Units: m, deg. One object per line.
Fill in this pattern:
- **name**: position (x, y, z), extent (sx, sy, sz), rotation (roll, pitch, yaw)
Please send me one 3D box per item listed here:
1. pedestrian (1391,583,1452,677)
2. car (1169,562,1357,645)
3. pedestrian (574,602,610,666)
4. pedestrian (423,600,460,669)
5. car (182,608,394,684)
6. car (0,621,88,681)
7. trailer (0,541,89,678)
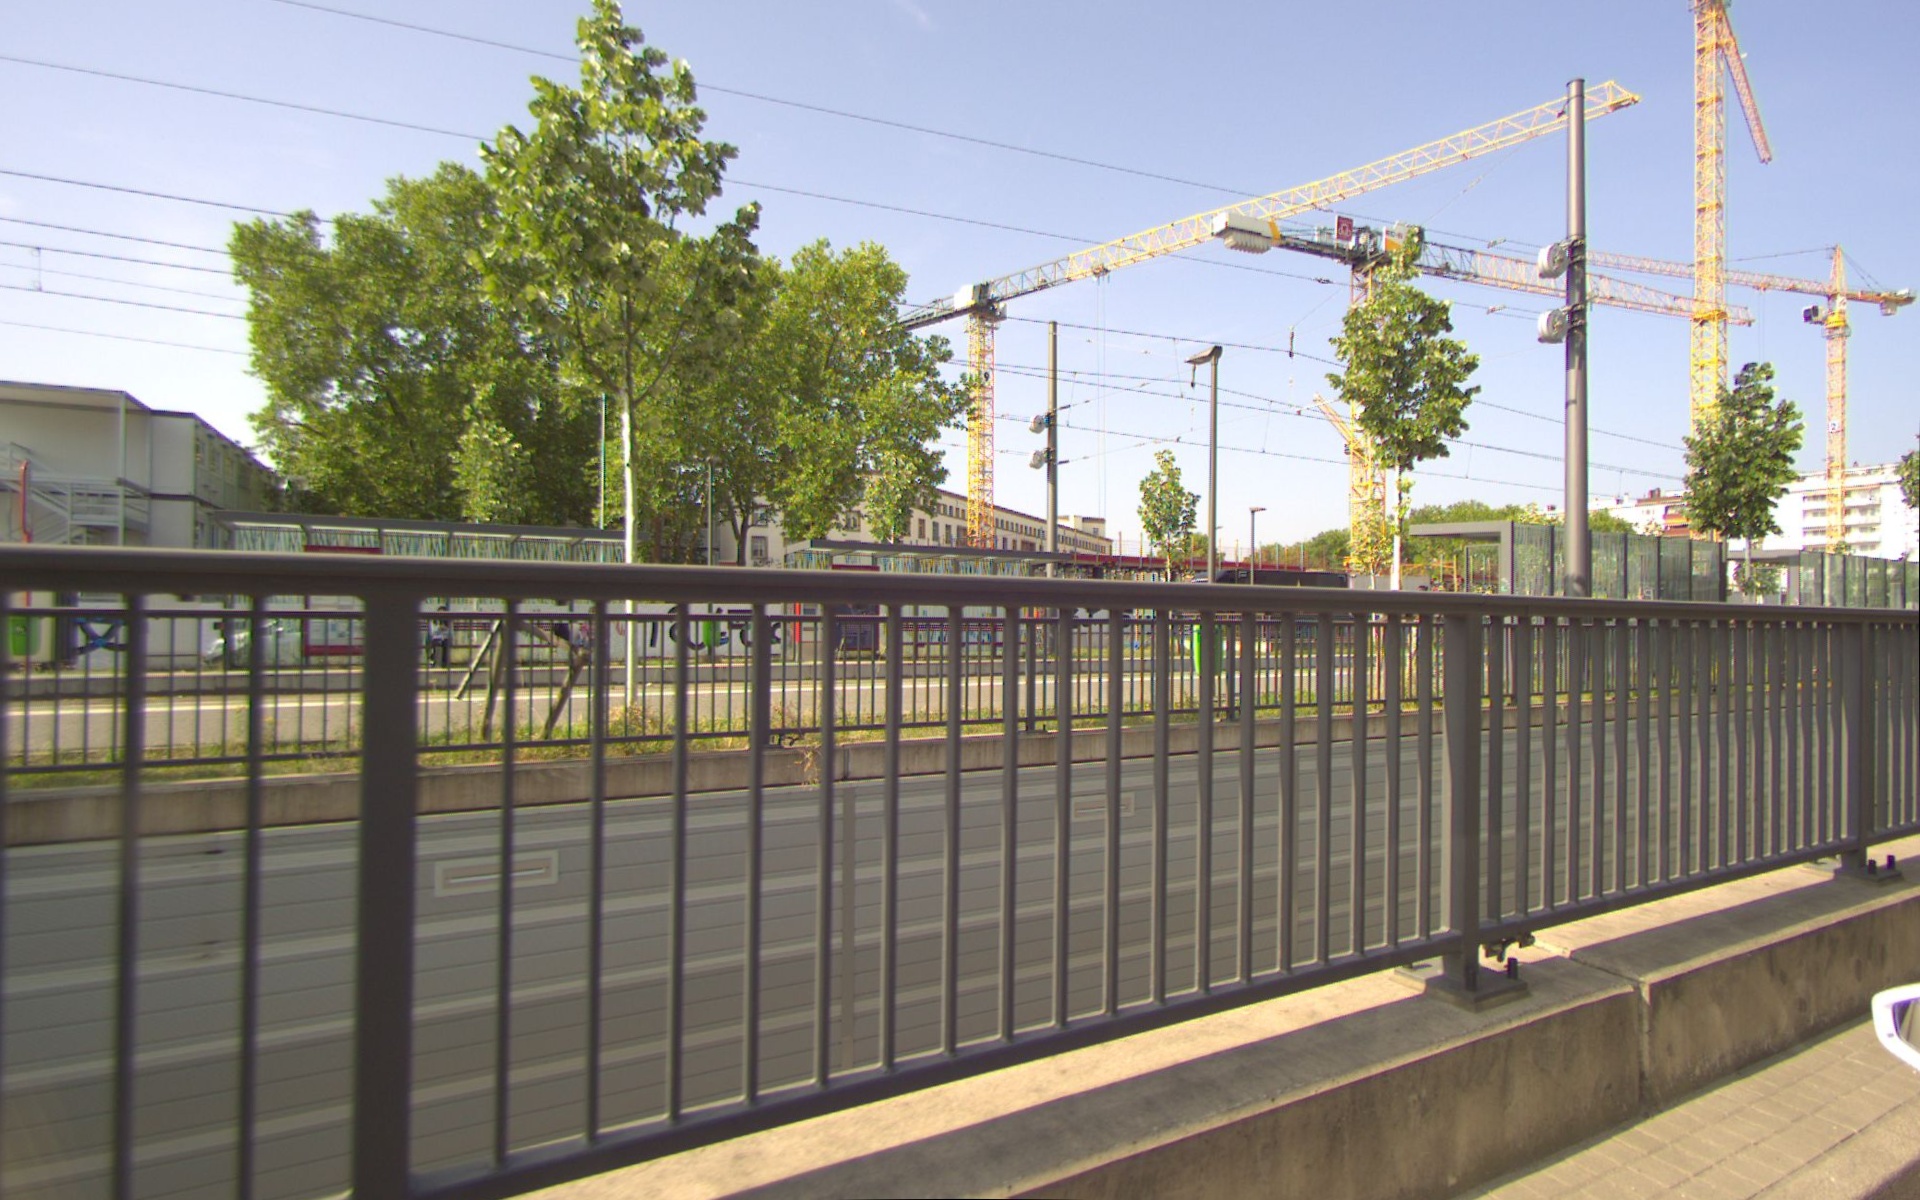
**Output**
- **pedestrian**: position (8.266, 0.530, 17.998), extent (0.702, 1.640, 0.732), rotation (1, -1, -30)
- **car**: position (14.201, 0.206, 46.784), extent (9.126, 3.559, 3.039), rotation (1, 0, -31)
- **pedestrian**: position (-7.770, 0.706, 21.213), extent (0.586, 1.317, 0.676), rotation (0, -1, -33)
- **pedestrian**: position (-10.162, 0.667, 19.688), extent (0.586, 1.317, 0.676), rotation (0, -1, -33)
- **car**: position (-16.048, 1.062, 24.265), extent (4.101, 1.684, 1.713), rotation (1, -1, -30)
- **car**: position (-27.159, 1.411, 27.967), extent (4.017, 1.603, 1.713), rotation (1, -1, -29)
- **trailer**: position (-21.562, 0.153, 20.816), extent (4.963, 2.818, 2.034), rotation (1, 1, -31)
